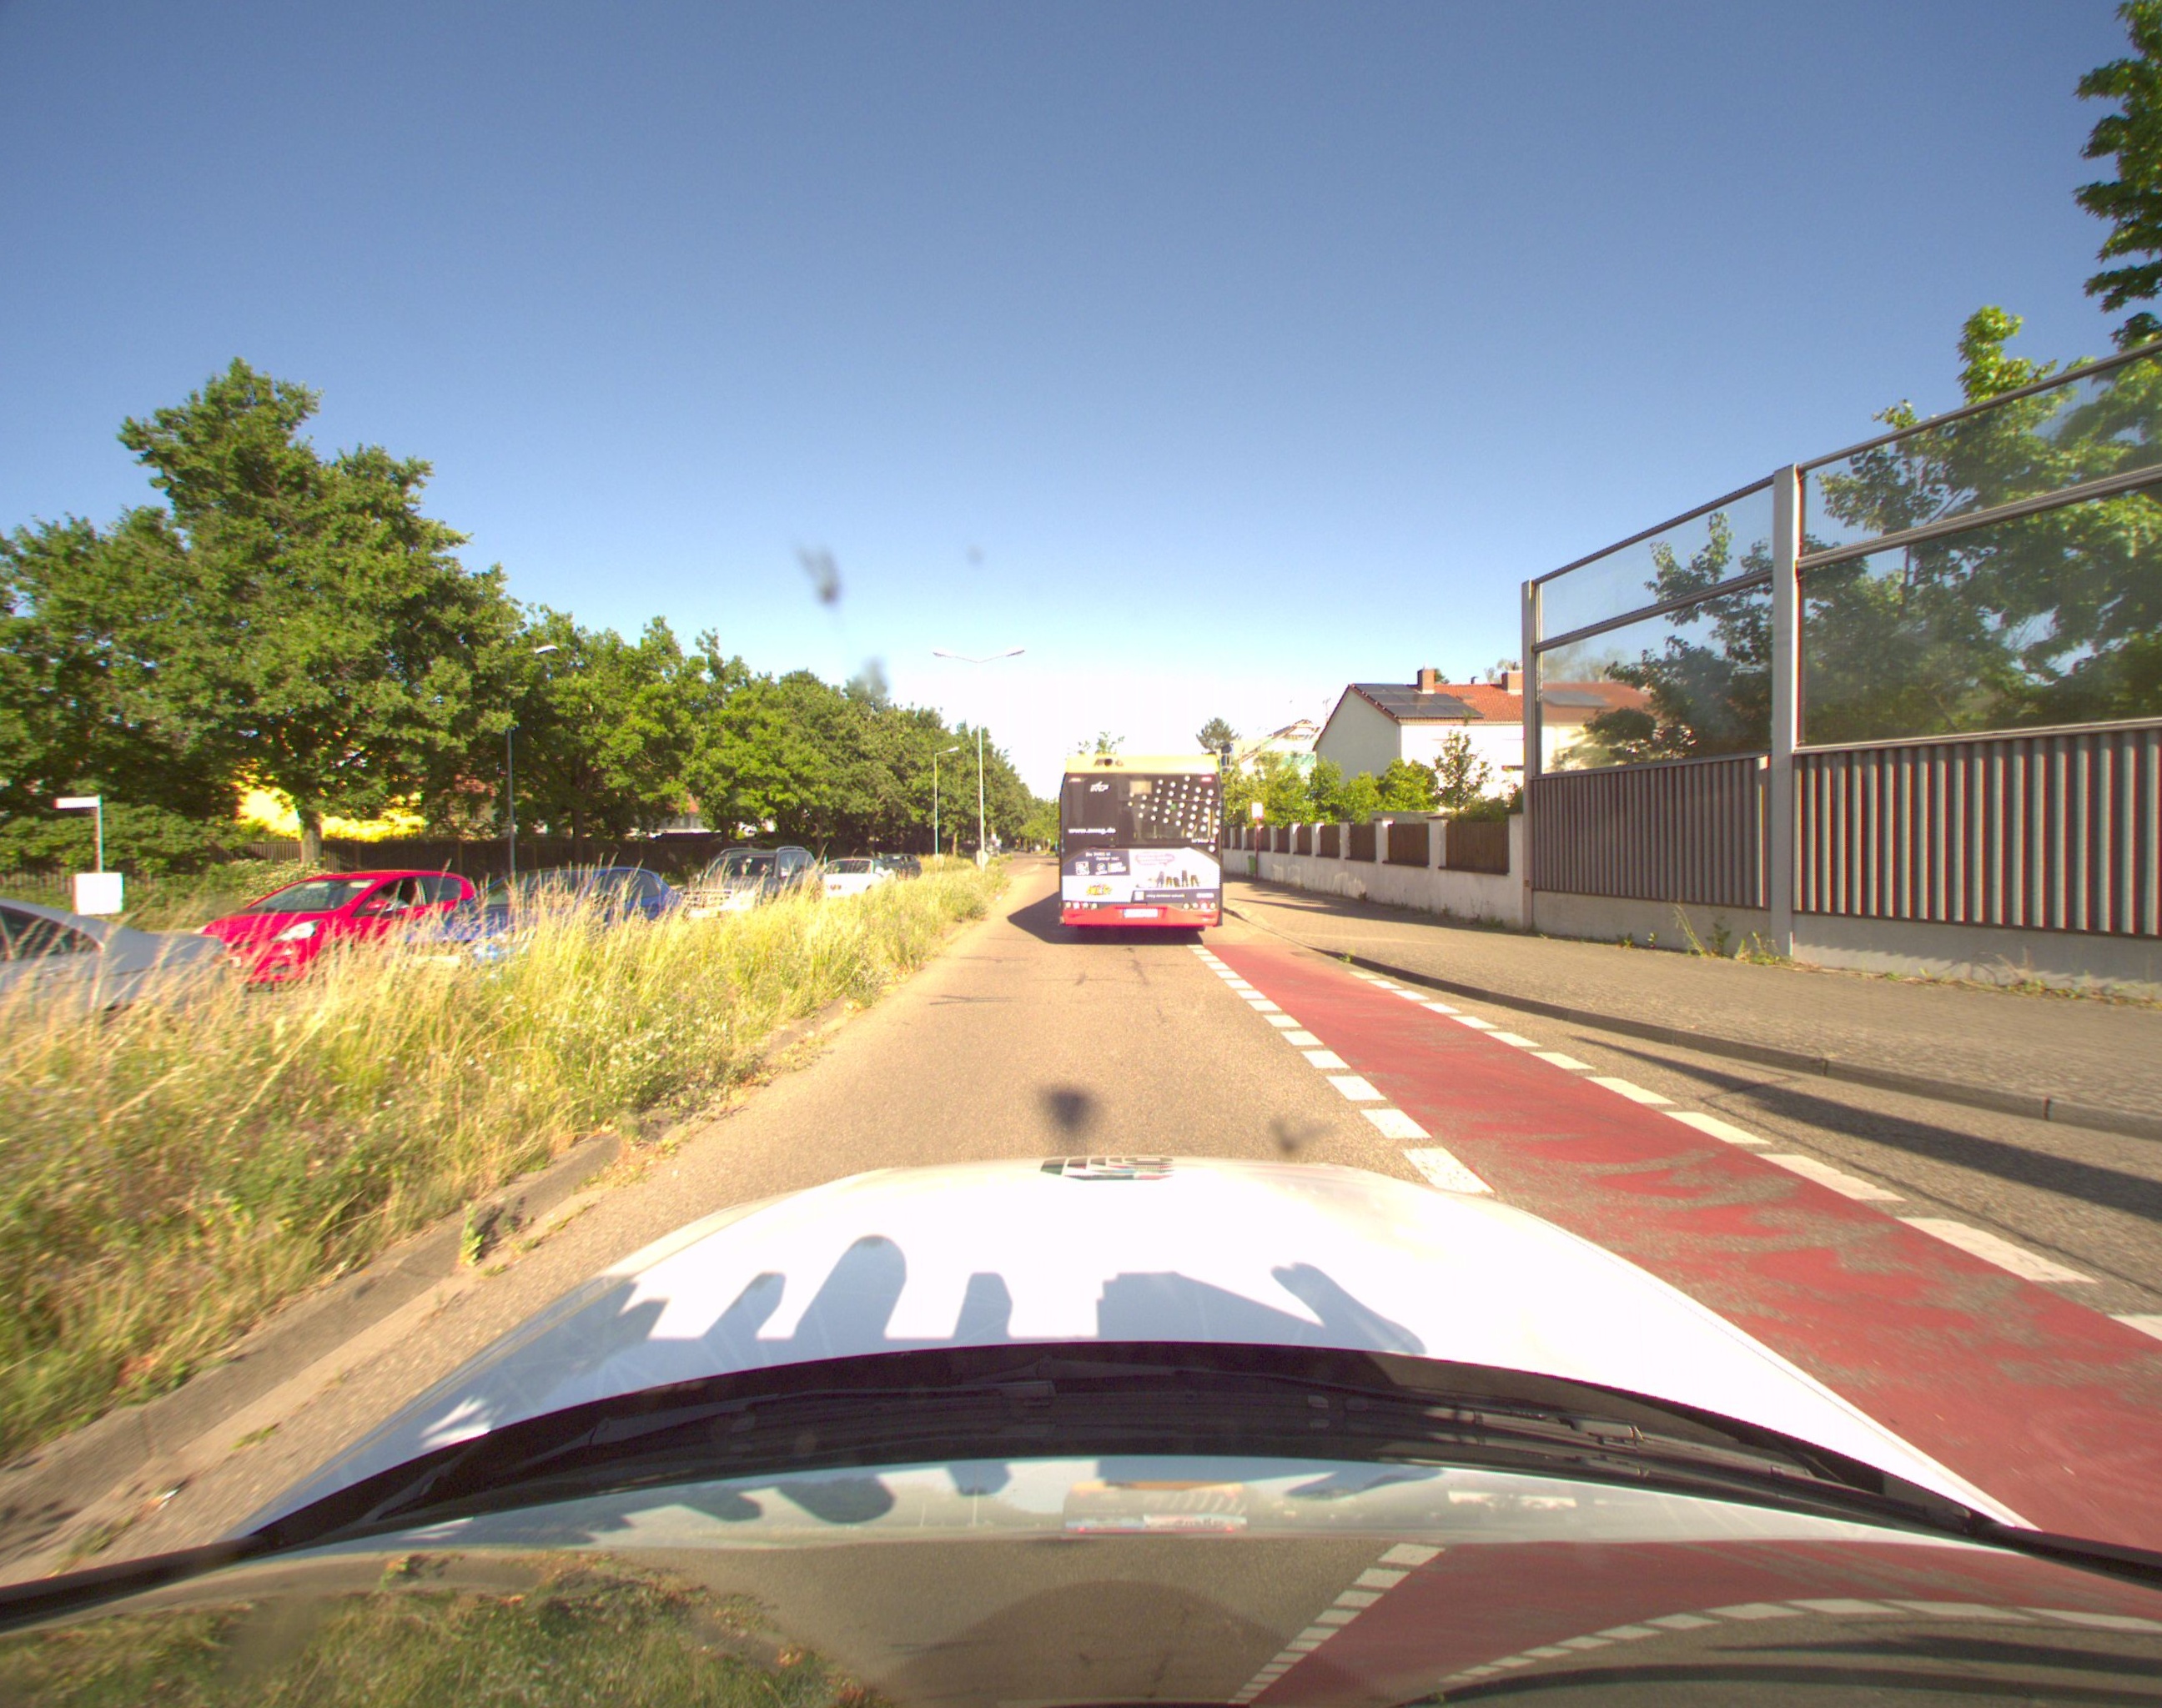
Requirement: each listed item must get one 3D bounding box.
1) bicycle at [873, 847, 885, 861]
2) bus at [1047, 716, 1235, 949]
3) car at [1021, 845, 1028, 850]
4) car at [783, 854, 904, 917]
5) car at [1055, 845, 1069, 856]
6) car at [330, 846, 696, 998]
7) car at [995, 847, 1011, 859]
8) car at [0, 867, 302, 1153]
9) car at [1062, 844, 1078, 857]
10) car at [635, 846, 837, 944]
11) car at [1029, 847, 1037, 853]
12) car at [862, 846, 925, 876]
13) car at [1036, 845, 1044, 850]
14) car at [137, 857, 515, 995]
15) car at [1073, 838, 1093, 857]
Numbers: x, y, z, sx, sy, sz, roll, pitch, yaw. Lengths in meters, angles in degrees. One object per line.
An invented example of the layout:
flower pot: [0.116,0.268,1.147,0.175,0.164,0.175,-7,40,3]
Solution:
bicycle: [-16.166,0.002,65.241,0.504,1.053,1.879,-1,0,-2]
bus: [1.163,-0.327,18.545,2.746,3.458,12.405,-2,0,2]
car: [-15.818,-1.808,226.885,1.931,1.454,3.992,-1,0,-6]
car: [-6.495,0.802,22.829,1.986,1.450,4.400,-1,1,1]
car: [-3.105,-0.613,133.284,1.930,1.742,3.993,-1,0,-5]
car: [-6.702,0.670,10.239,1.740,1.483,3.890,-1,1,2]
car: [-10.080,-0.139,105.338,1.933,1.479,3.991,-1,0,-6]
car: [-6.849,0.915,3.874,1.786,1.506,4.533,-1,1,2]
car: [-1.538,-0.510,110.805,1.932,1.704,3.993,-1,0,-5]
car: [-6.651,0.680,16.360,1.986,1.616,4.531,-1,1,1]
car: [-11.903,-1.015,201.715,1.930,1.542,3.993,-1,0,-5]
car: [-9.669,0.334,42.366,1.699,1.430,4.011,-2,1,10]
car: [-11.554,-1.758,228.060,1.931,1.454,3.992,-1,0,-6]
car: [-10.027,0.842,11.280,1.639,1.483,3.715,-1,1,2]
car: [0.219,-0.719,90.491,1.832,1.971,4.751,-1,0,-5]
